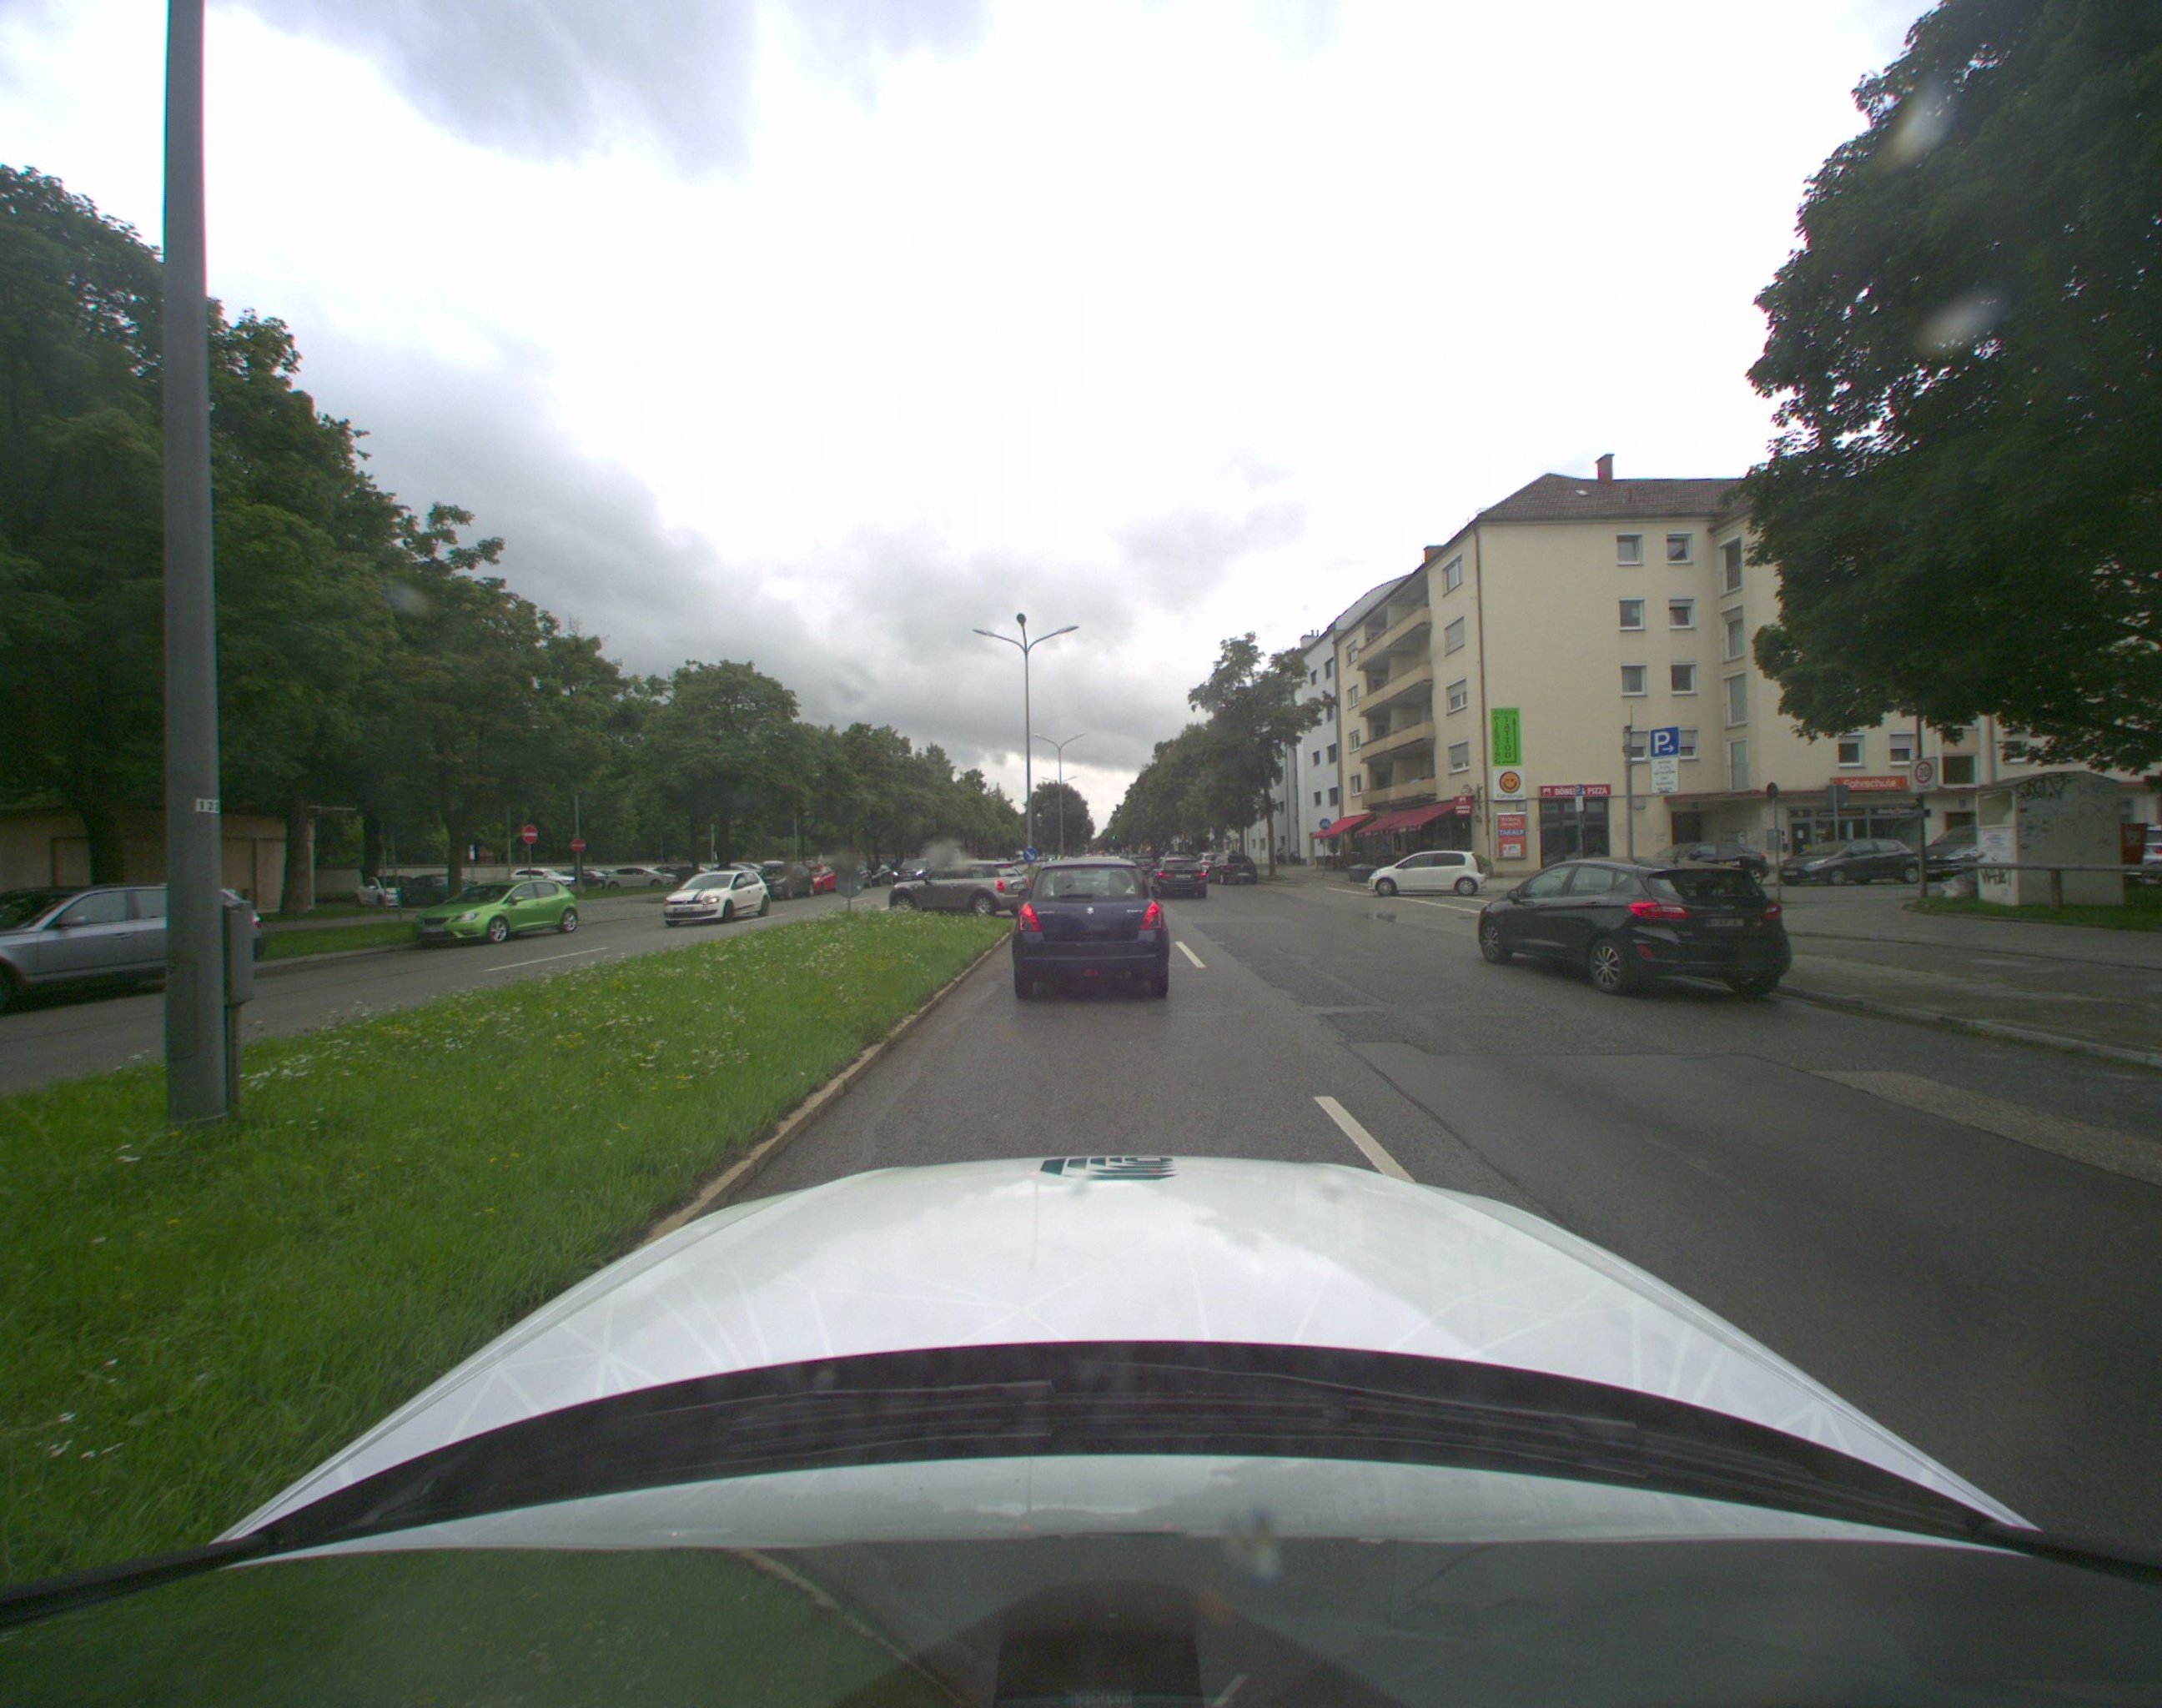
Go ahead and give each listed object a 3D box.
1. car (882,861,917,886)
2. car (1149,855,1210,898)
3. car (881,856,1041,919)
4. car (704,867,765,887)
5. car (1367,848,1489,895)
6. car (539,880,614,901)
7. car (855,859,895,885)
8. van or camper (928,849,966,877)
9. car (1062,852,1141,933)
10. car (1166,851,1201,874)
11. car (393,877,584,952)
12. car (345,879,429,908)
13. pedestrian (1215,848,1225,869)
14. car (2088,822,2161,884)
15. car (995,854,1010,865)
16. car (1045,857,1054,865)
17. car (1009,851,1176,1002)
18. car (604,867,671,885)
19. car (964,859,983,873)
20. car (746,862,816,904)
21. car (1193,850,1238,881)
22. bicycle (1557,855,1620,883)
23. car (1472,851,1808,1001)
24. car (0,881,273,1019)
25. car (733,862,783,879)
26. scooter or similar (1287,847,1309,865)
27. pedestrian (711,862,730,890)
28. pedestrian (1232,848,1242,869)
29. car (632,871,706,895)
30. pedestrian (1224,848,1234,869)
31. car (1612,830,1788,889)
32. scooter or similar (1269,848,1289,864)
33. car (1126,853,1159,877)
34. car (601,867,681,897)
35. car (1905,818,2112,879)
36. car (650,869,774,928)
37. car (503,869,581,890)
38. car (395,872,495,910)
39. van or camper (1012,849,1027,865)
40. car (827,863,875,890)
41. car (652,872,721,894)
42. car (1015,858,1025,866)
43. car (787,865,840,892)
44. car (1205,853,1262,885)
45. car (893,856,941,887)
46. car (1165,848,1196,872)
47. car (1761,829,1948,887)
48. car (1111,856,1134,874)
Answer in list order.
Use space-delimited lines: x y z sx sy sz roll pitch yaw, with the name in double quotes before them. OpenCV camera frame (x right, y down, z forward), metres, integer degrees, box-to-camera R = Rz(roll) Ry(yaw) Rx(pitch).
"car" -13.081 1.398 58.970 1.627 1.741 3.879 -1 0 0
"car" 3.469 0.745 29.428 1.752 1.413 4.463 0 0 1
"car" -3.048 0.814 20.662 3.687 1.463 1.698 -1 0 28
"car" -26.206 1.710 61.634 3.859 1.445 1.670 -1 0 -5
"car" 11.353 0.565 26.641 3.515 1.417 1.883 -2 0 27
"car" -38.330 2.761 61.893 4.673 1.445 1.673 -1 0 1
"car" -13.266 1.140 52.595 1.585 1.558 3.879 -1 0 0
"van or camper" -12.837 0.844 78.494 2.109 2.482 7.452 -1 0 2
"car" 0.385 0.722 16.751 1.439 1.483 3.106 -1 0 0
"car" 7.303 0.563 58.403 1.860 1.517 4.223 -2 0 -1
"car" -14.099 1.377 19.689 1.541 1.409 3.883 -3 0 4
"car" -31.324 1.729 36.713 4.363 1.201 1.683 -1 -1 33
"pedestrian" 13.562 0.444 79.236 0.791 2.013 1.006 -1 0 2
"car" 30.928 -0.061 22.368 4.381 1.661 1.870 -1 1 -2
"car" -11.267 0.758 117.039 1.627 1.583 3.879 -1 0 0
"car" -6.148 1.441 160.838 1.627 1.552 3.879 -1 0 0
"car" 0.124 0.731 10.270 1.676 1.502 3.918 -1 0 0
"car" -37.366 1.875 68.678 4.673 1.445 1.673 -1 0 1
"car" -12.379 1.332 94.017 1.627 1.583 3.879 -1 0 0
"car" -13.603 1.276 37.139 1.711 1.741 3.879 -1 0 0
"car" 7.413 0.607 45.200 1.786 1.558 4.224 -2 0 0
"bicycle" 17.692 0.510 28.417 1.841 0.957 0.557 -1 -1 -1
"car" 6.374 0.719 9.848 1.611 1.465 3.675 0 0 1
"car" -14.278 1.296 11.289 1.685 1.586 4.371 -3 0 0
"car" -29.230 1.470 73.812 3.859 1.445 1.670 -1 0 -5
"scooter or similar" 16.571 0.121 62.281 1.029 1.307 2.756 -2 0 2
"pedestrian" -19.965 1.190 45.119 0.725 1.534 0.721 -1 -1 1
"pedestrian" 15.270 0.428 79.714 0.791 2.013 1.006 -1 0 2
"car" -26.313 1.821 52.064 3.859 1.445 1.670 -1 0 -5
"pedestrian" 14.373 0.436 79.252 0.791 2.013 1.006 -1 0 2
"car" 20.107 0.172 26.559 4.384 1.661 1.869 -2 0 -4
"scooter or similar" 16.246 0.155 66.785 1.029 1.307 2.756 -2 0 2
"car" 3.941 0.678 52.828 1.726 1.432 4.439 0 0 -2
"car" -26.538 1.672 49.223 3.911 1.718 1.670 -1 0 -5
"car" 30.513 -0.182 26.891 4.720 1.773 1.871 -2 0 -1
"car" -10.263 1.182 22.954 1.613 1.375 3.838 -3 0 1
"car" -38.275 1.801 57.893 4.489 1.476 1.673 -1 -1 1
"car" -26.556 1.497 33.982 4.363 1.446 1.973 -1 -1 33
"van or camper" -13.227 0.689 175.272 2.552 3.296 6.937 -1 0 0
"car" -13.275 1.262 47.215 1.662 1.445 3.879 -1 0 0
"car" -27.067 1.985 55.960 3.859 1.445 1.670 -1 0 -5
"car" -12.641 1.578 168.399 1.627 1.583 3.879 -1 0 0
"car" -13.787 1.244 42.172 1.585 1.312 3.381 -1 0 0
"car" 7.485 0.690 40.361 1.861 1.417 4.221 -2 0 -2
"car" -9.664 1.006 48.288 1.760 1.623 4.507 -3 0 1
"car" 7.678 0.445 63.261 1.860 1.682 4.223 -2 0 -1
"car" 25.043 0.119 26.460 4.381 1.661 1.870 -2 0 -2
"car" 3.324 0.827 65.299 1.676 1.384 3.919 0 0 1
